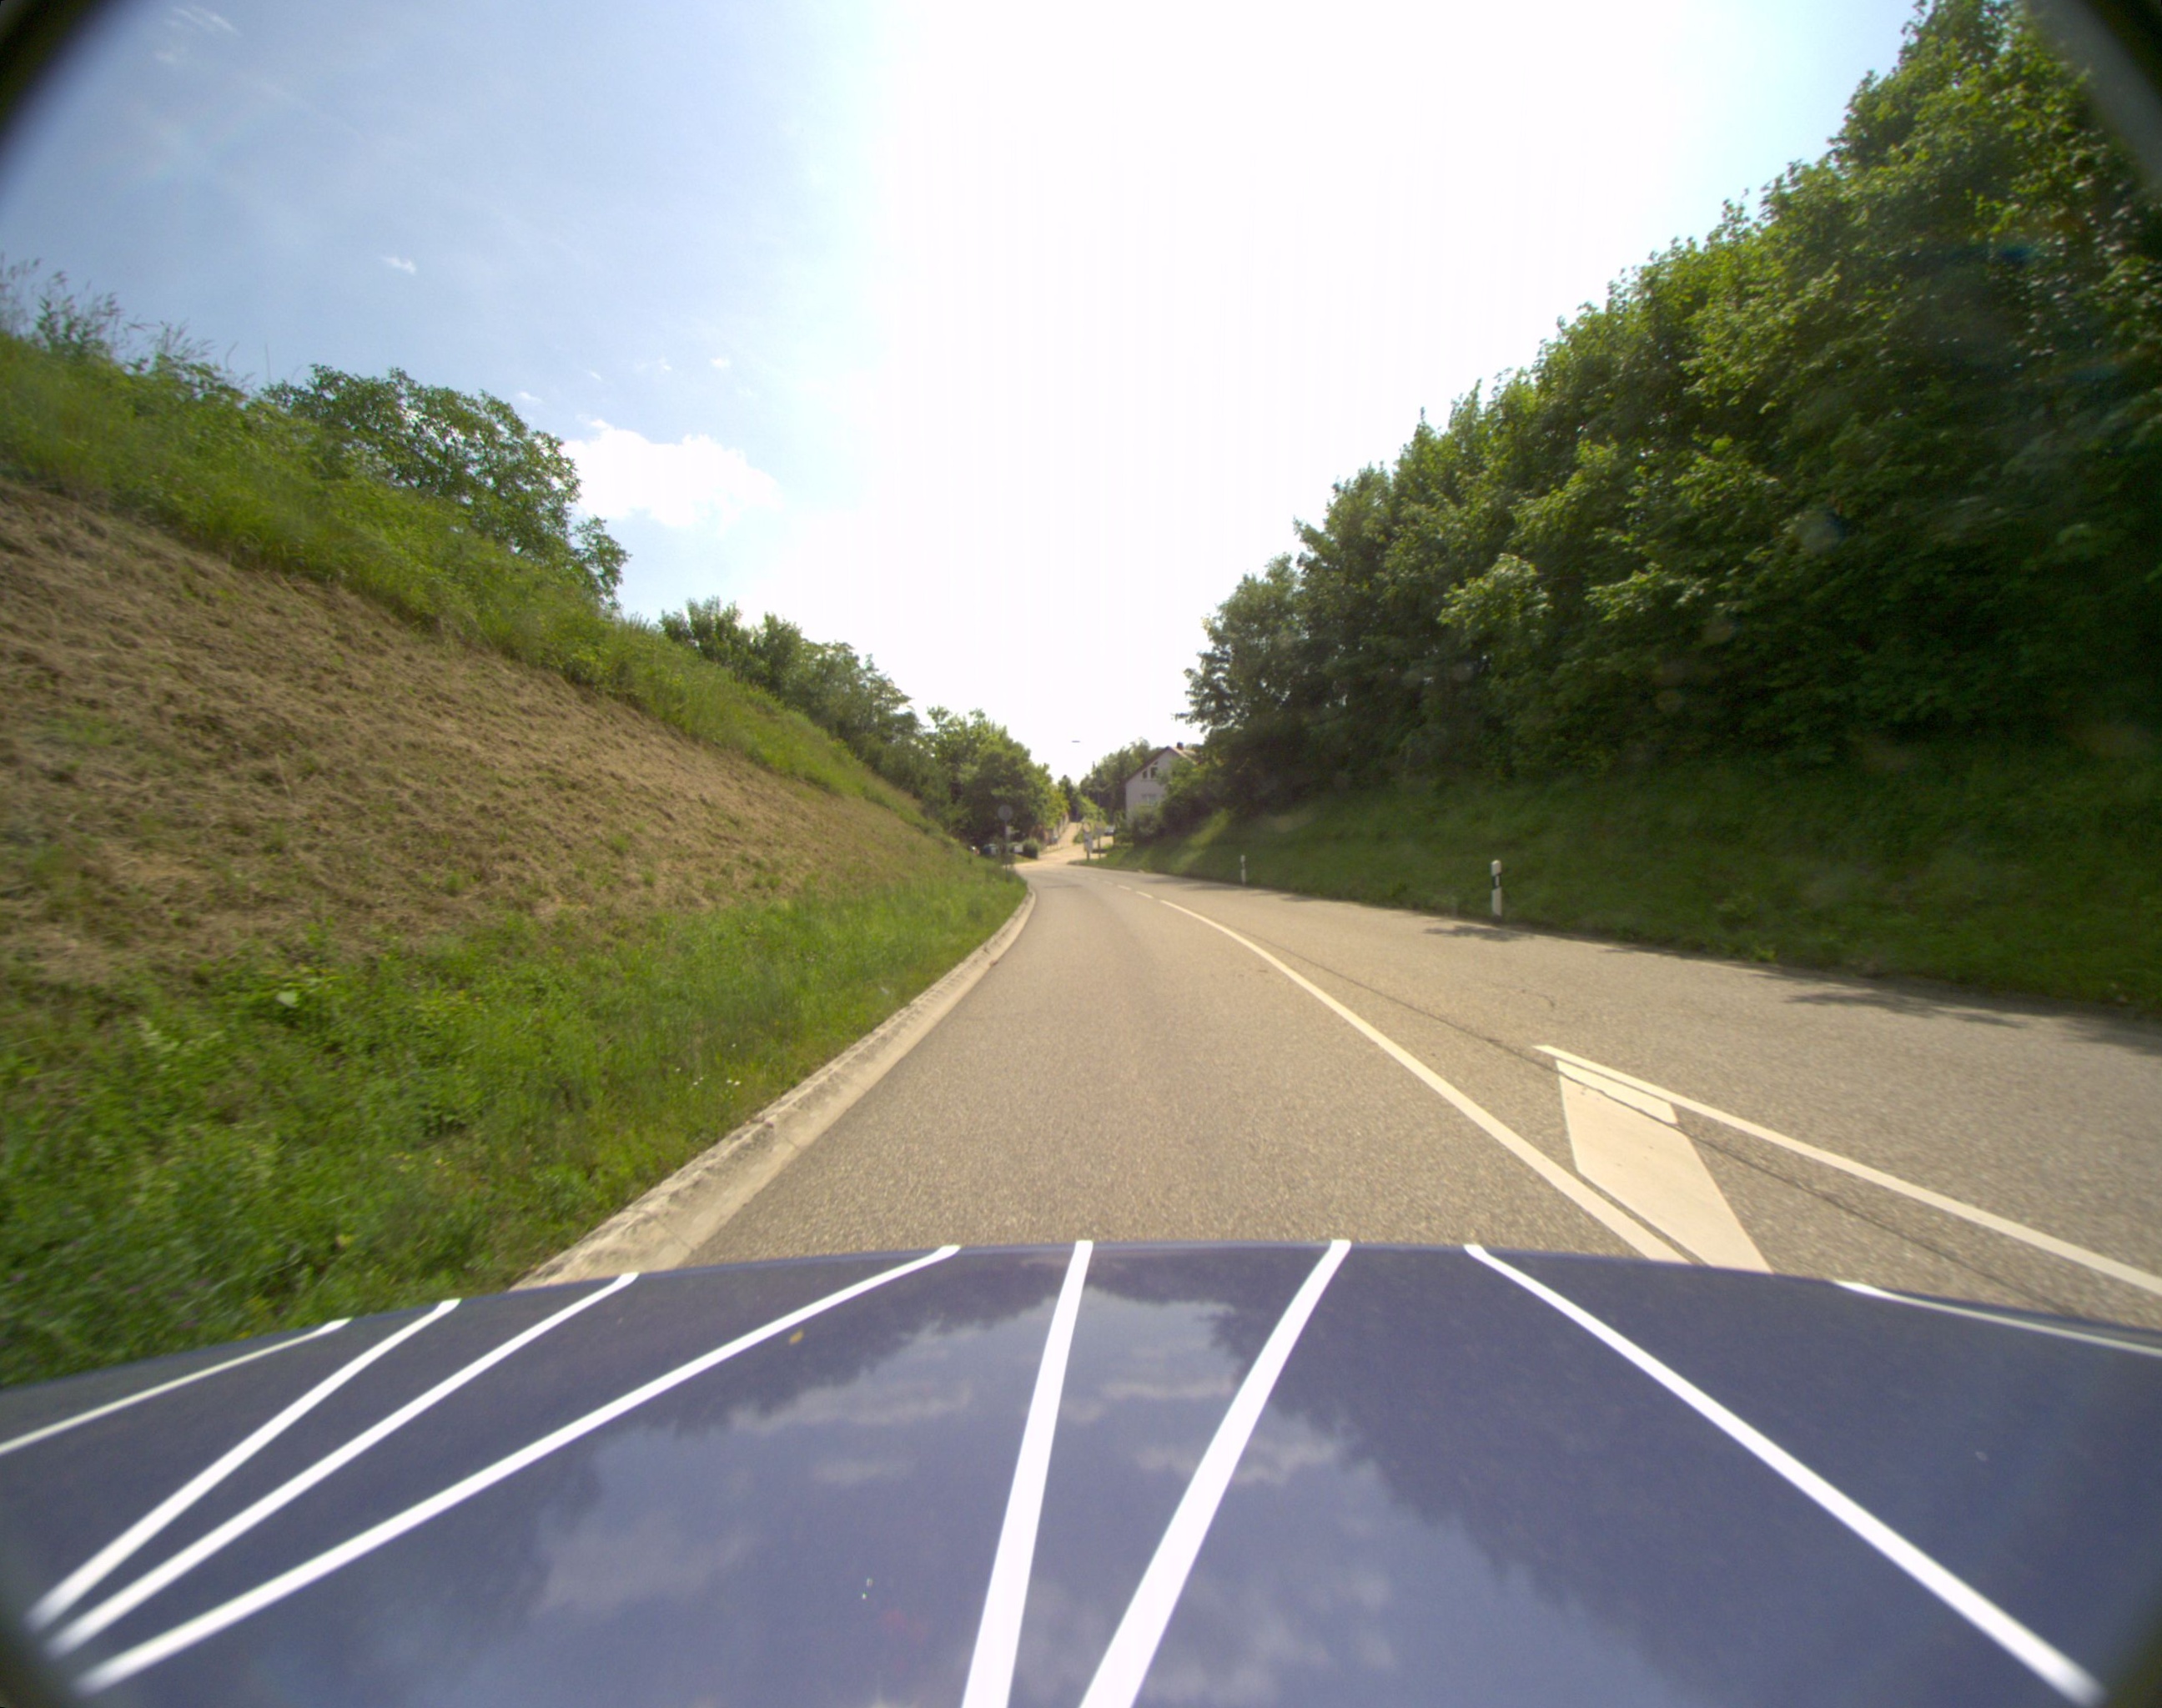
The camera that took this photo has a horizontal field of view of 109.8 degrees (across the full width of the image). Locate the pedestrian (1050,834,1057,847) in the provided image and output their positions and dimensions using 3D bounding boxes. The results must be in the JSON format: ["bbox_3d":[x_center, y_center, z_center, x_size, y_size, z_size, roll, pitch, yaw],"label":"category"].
[{"bbox_3d":[-3.386,-1.683,93.918,0.574,1.546,0.599,-4,3,5],"label":"pedestrian"}]

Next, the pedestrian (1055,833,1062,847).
[{"bbox_3d":[-2.771,-1.773,94.233,0.687,1.703,0.789,-4,3,5],"label":"pedestrian"}]

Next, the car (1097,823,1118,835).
[{"bbox_3d":[4.237,-3.980,122.665,1.858,1.634,4.384,-5,2,-20],"label":"car"}]
